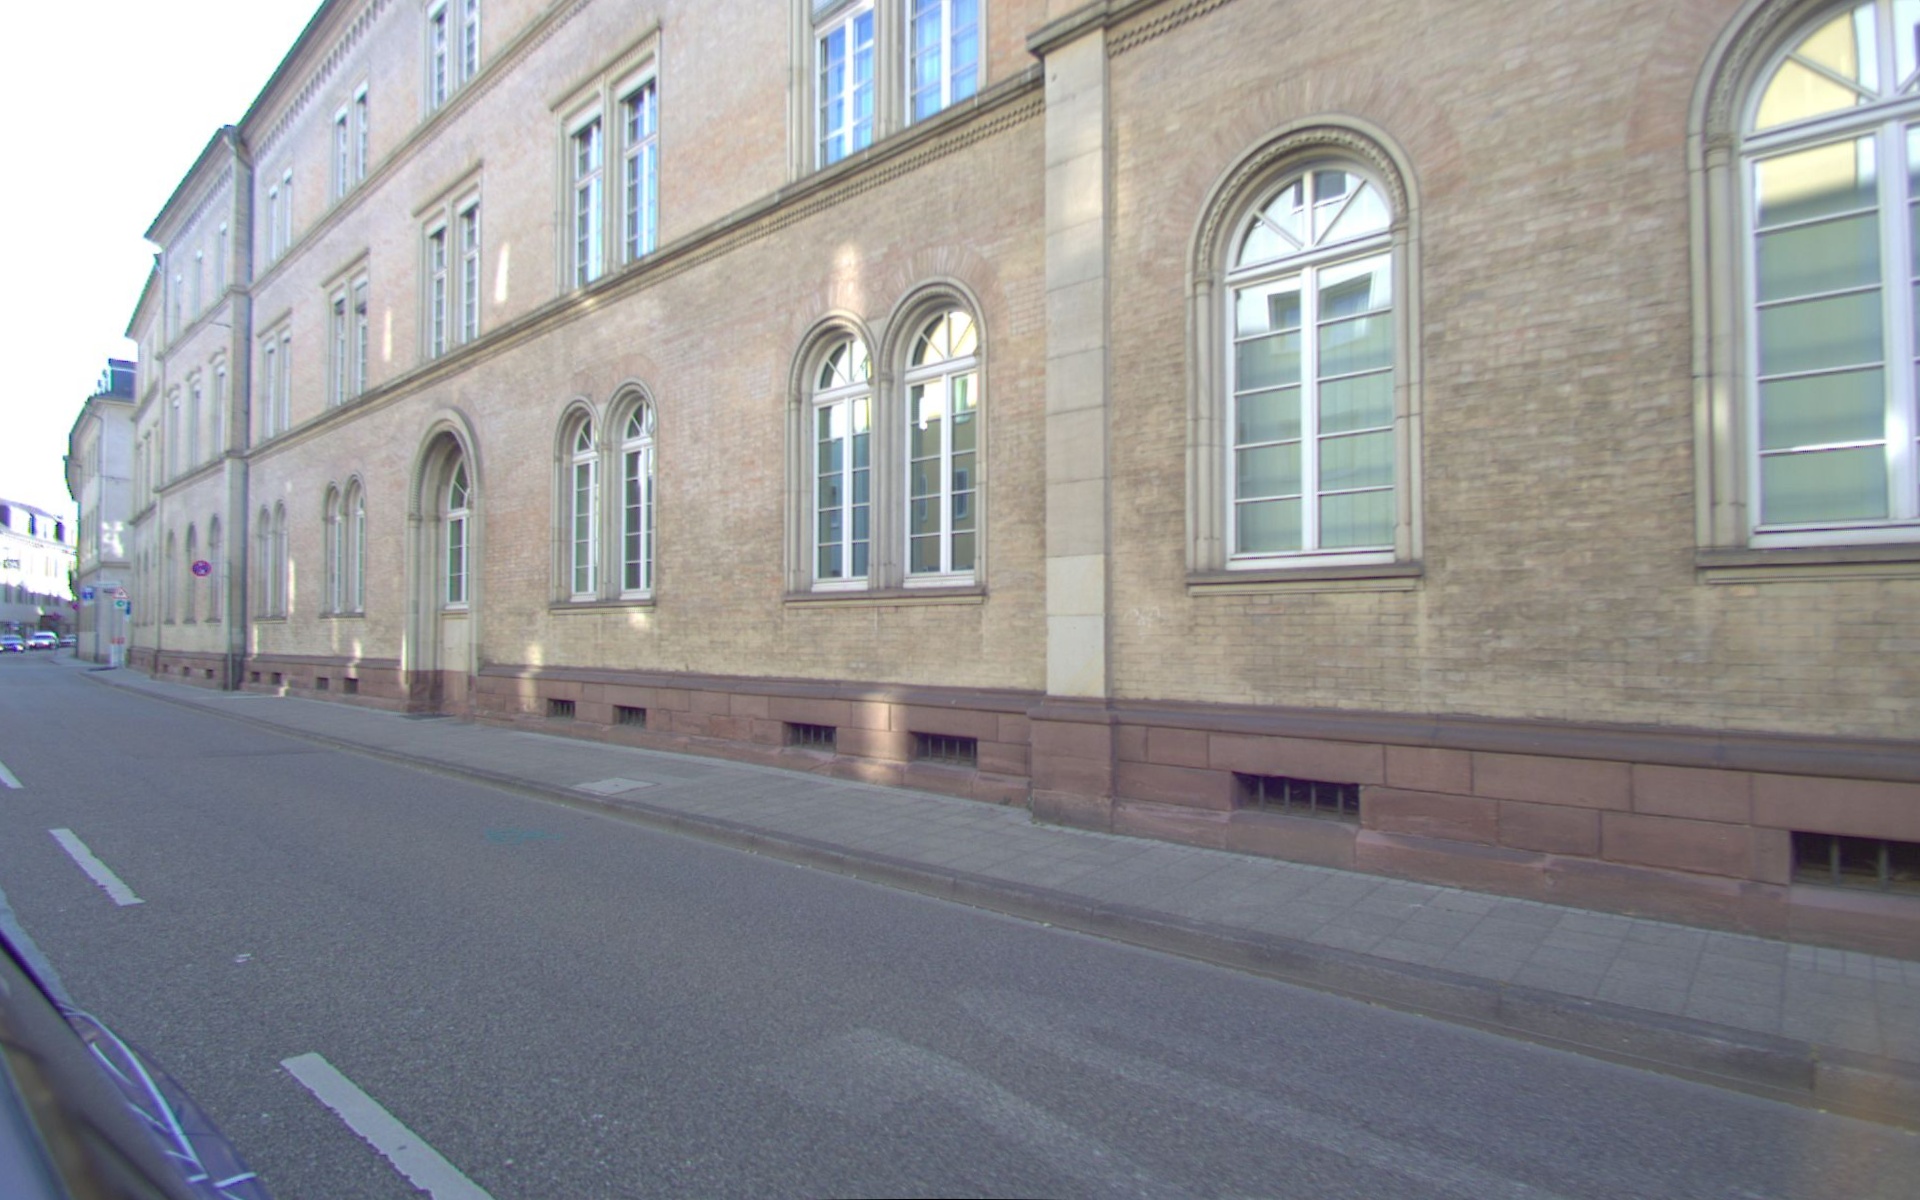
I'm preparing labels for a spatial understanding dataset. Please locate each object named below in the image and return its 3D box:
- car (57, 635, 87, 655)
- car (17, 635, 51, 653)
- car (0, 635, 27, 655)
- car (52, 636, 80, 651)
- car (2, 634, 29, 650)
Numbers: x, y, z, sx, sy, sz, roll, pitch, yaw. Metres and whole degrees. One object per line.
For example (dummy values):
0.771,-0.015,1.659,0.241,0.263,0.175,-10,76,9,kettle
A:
-79.944,4.032,91.142,1.638,1.737,3.747,1,-3,-36,car
-93.903,4.463,102.655,1.892,1.735,4.972,1,-2,-35,car
-83.424,3.940,88.744,1.833,1.737,3.748,1,-3,-36,car
-108.956,5.259,123.365,1.896,1.737,4.242,1,-2,-32,car
-101.805,4.525,109.130,1.512,1.737,3.748,1,-2,-35,car
